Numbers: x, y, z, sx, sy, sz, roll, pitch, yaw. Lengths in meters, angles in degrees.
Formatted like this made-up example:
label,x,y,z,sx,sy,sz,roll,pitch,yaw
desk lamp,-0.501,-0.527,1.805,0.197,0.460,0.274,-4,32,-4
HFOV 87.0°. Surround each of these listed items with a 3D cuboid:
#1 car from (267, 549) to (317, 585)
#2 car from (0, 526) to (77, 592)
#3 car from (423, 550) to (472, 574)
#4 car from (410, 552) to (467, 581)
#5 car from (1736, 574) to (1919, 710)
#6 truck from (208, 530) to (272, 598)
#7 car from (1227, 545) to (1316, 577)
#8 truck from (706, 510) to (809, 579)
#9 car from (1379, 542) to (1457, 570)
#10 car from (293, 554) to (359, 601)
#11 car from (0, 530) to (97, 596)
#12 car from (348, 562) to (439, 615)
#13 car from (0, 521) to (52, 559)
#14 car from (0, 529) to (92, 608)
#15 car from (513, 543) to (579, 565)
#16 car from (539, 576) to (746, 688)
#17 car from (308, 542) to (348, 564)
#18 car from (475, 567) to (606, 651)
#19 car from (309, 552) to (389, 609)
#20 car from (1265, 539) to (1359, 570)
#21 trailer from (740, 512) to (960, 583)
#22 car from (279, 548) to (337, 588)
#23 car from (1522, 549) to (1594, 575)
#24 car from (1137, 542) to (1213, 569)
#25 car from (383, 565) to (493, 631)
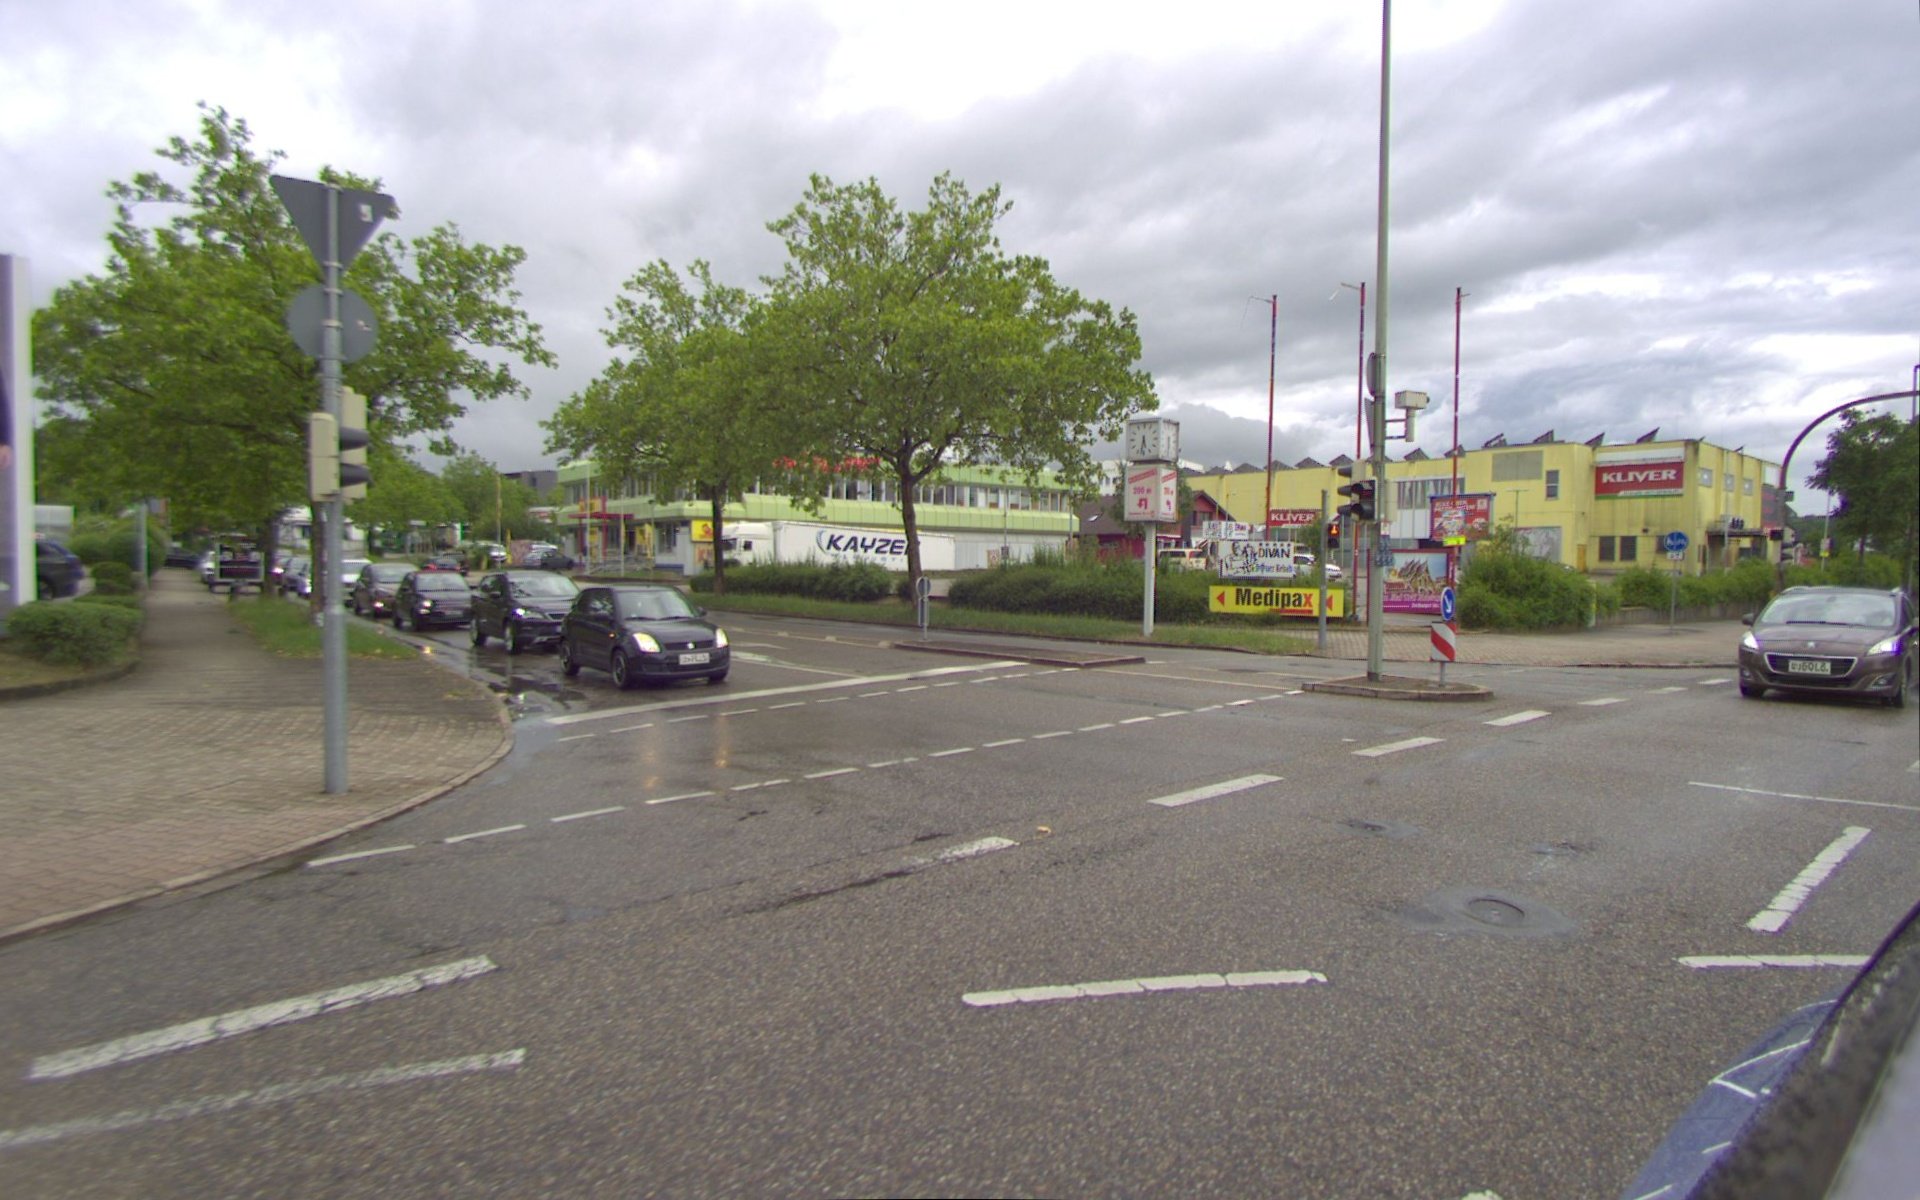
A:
label,x,y,z,sx,sy,sz,roll,pitch,yaw
car,-34.442,-1.729,52.149,1.785,1.762,3.989,0,2,-39
car,-21.644,-0.849,21.423,1.951,1.396,4.142,-2,1,10
car,-33.619,-2.488,66.300,1.965,1.460,3.995,0,2,-41
car,-29.163,-1.893,56.509,1.965,1.549,3.995,0,2,-41
car,12.839,0.471,14.555,4.391,1.644,1.730,-1,3,-40
truck,-28.289,-1.458,39.723,1.785,2.515,3.989,-1,4,-39
car,18.014,-2.263,58.685,1.965,1.801,4.575,0,2,-41
truck,-11.928,-3.170,59.708,5.044,3.763,3.158,1,-1,-39
car,31.188,-3.006,68.999,1.965,1.760,4.379,0,2,-41
car,-25.709,-0.964,40.972,1.785,1.762,3.989,-2,4,-39
car,-27.856,-1.029,28.874,1.965,1.814,4.922,-2,1,6
car,-17.608,-0.412,31.372,1.785,1.465,3.989,-2,4,-39
car,-48.139,-3.016,50.608,3.927,1.816,1.999,0,2,-38
car,-19.402,-0.606,18.844,1.965,1.504,5.004,1,2,5
car,-28.800,-3.189,70.459,1.982,1.460,3.962,2,2,28
car,-5.133,0.391,16.051,1.785,1.507,3.988,-2,2,-39
car,-47.269,-3.523,75.692,1.965,1.549,3.995,0,2,-41
car,-8.840,0.141,21.122,1.705,1.567,4.154,-2,1,-34
car,-22.118,-0.763,36.578,1.890,1.861,4.339,-2,4,-39
car,21.620,-2.792,62.334,2.340,1.801,4.978,0,2,-41
trailer,-6.602,-3.125,64.134,14.546,3.763,3.158,1,0,-40
car,-30.140,-1.486,46.749,1.821,1.762,3.989,0,2,-39
car,42.690,-2.713,72.343,1.965,1.801,3.995,0,2,-41
car,15.475,-3.214,73.115,2.340,1.801,4.978,0,2,-41
car,-13.856,-0.110,26.763,1.785,1.507,3.989,-2,4,-39
